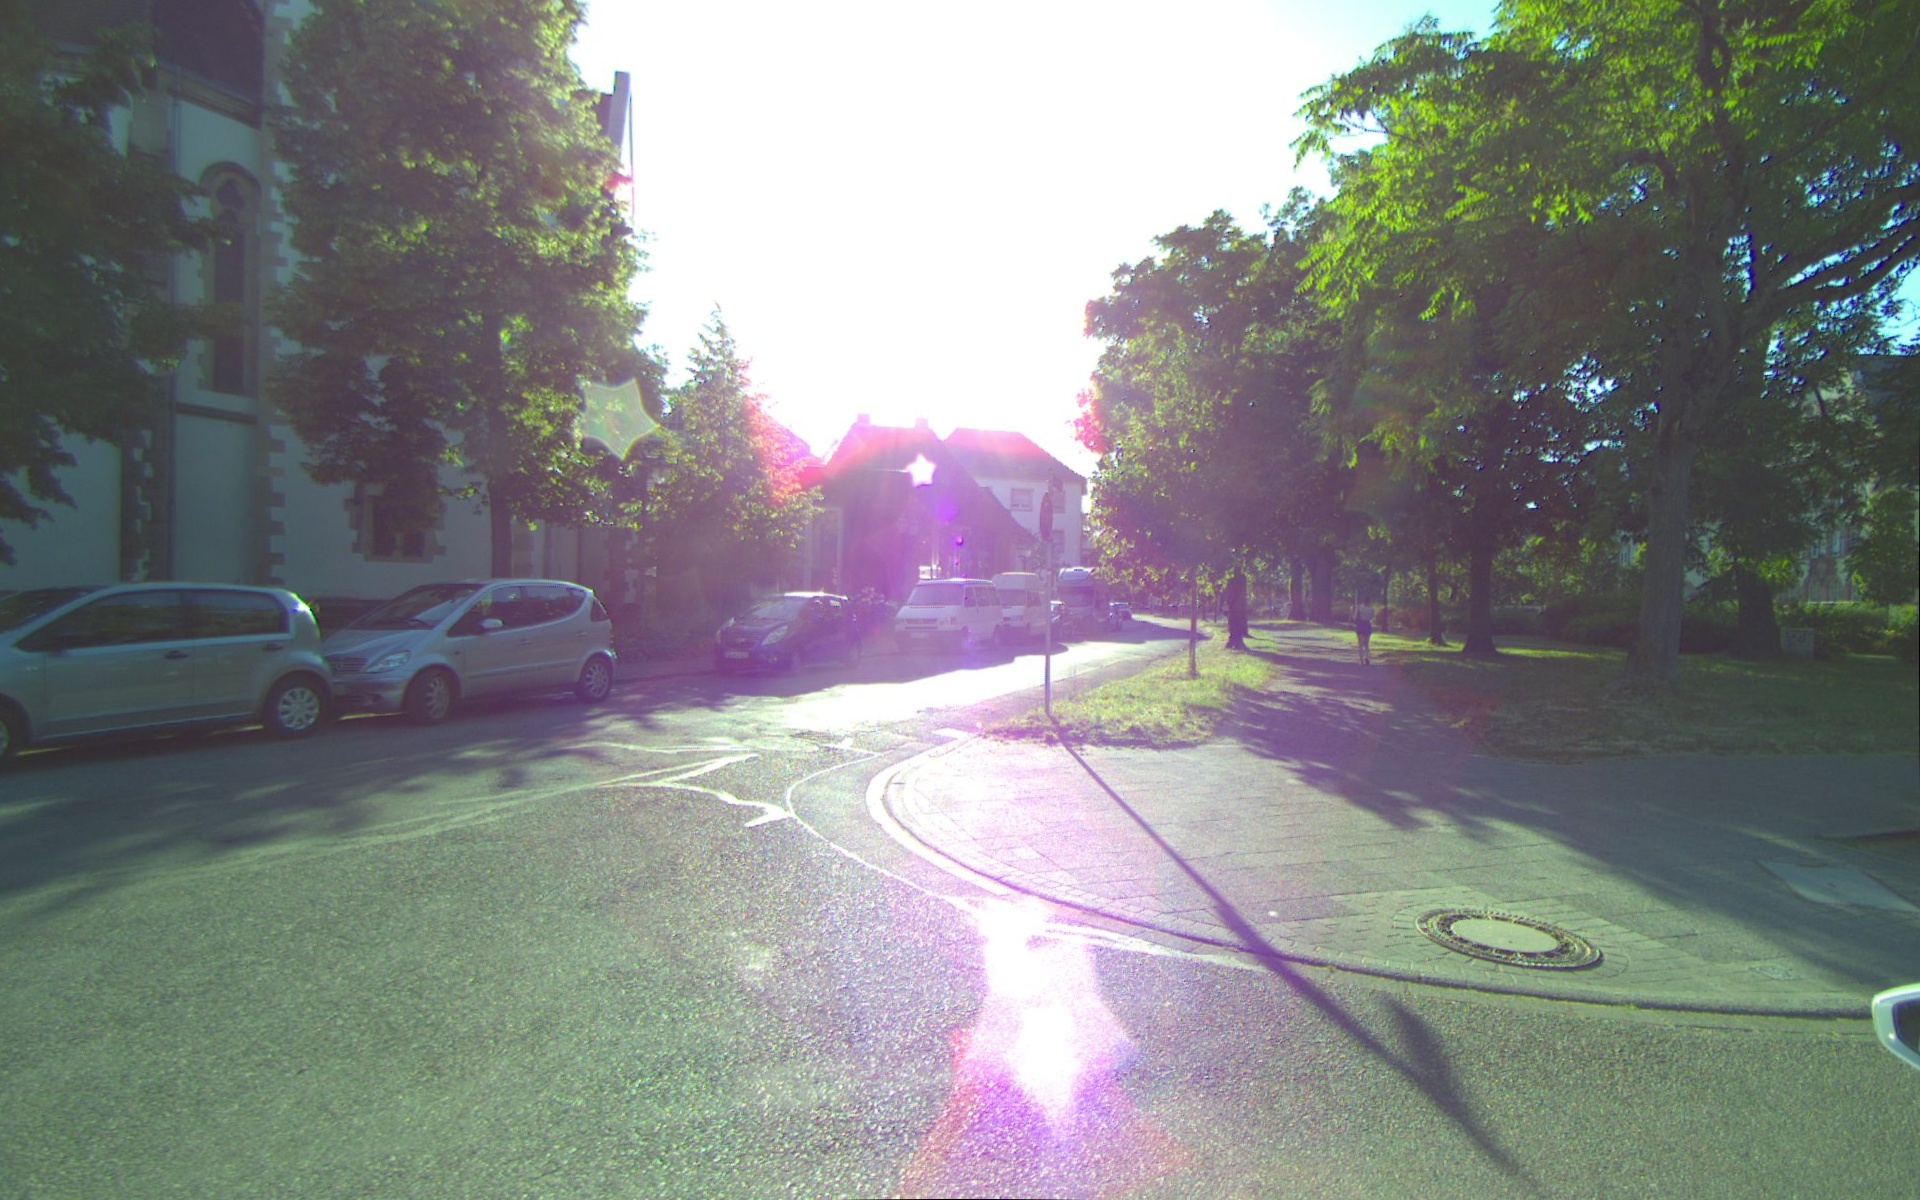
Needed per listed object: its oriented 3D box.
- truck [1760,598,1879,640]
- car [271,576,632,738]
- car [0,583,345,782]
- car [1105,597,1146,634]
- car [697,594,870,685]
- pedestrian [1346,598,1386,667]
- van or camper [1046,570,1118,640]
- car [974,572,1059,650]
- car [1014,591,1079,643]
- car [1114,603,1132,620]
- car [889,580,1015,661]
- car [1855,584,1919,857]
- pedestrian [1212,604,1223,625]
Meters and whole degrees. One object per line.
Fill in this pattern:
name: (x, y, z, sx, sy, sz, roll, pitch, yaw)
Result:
truck: (67.690, 1.382, 79.406, 2.561, 3.070, 8.009, 2, 0, 1)
car: (-5.847, 0.572, 12.059, 1.676, 1.600, 3.696, 1, 0, 20)
car: (-7.441, 0.612, 8.492, 1.586, 1.459, 3.605, 0, 0, 22)
car: (9.249, 0.826, 55.795, 1.820, 1.911, 4.145, 1, 0, 15)
car: (-3.251, 0.683, 19.234, 1.589, 1.521, 3.696, 1, 0, 20)
pedestrian: (9.630, 0.755, 23.823, 0.762, 1.596, 0.766, 1, 0, 30)
van or camper: (5.697, 0.196, 45.987, 2.055, 2.947, 6.333, 1, 0, 18)
car: (1.999, 0.353, 33.881, 1.820, 2.387, 5.188, 1, 0, 15)
car: (3.443, 0.637, 39.518, 1.820, 1.911, 4.145, 1, 0, 15)
car: (14.748, 1.015, 90.797, 1.485, 1.466, 3.408, 1, 0, 8)
car: (-0.110, 0.509, 27.489, 1.821, 1.972, 4.840, 1, 0, 20)
car: (8.212, 0.826, 6.266, 4.247, 1.698, 1.802, 1, 2, -14)
pedestrian: (20.483, 1.140, 79.949, 0.624, 1.618, 0.671, 1, 0, -2)
